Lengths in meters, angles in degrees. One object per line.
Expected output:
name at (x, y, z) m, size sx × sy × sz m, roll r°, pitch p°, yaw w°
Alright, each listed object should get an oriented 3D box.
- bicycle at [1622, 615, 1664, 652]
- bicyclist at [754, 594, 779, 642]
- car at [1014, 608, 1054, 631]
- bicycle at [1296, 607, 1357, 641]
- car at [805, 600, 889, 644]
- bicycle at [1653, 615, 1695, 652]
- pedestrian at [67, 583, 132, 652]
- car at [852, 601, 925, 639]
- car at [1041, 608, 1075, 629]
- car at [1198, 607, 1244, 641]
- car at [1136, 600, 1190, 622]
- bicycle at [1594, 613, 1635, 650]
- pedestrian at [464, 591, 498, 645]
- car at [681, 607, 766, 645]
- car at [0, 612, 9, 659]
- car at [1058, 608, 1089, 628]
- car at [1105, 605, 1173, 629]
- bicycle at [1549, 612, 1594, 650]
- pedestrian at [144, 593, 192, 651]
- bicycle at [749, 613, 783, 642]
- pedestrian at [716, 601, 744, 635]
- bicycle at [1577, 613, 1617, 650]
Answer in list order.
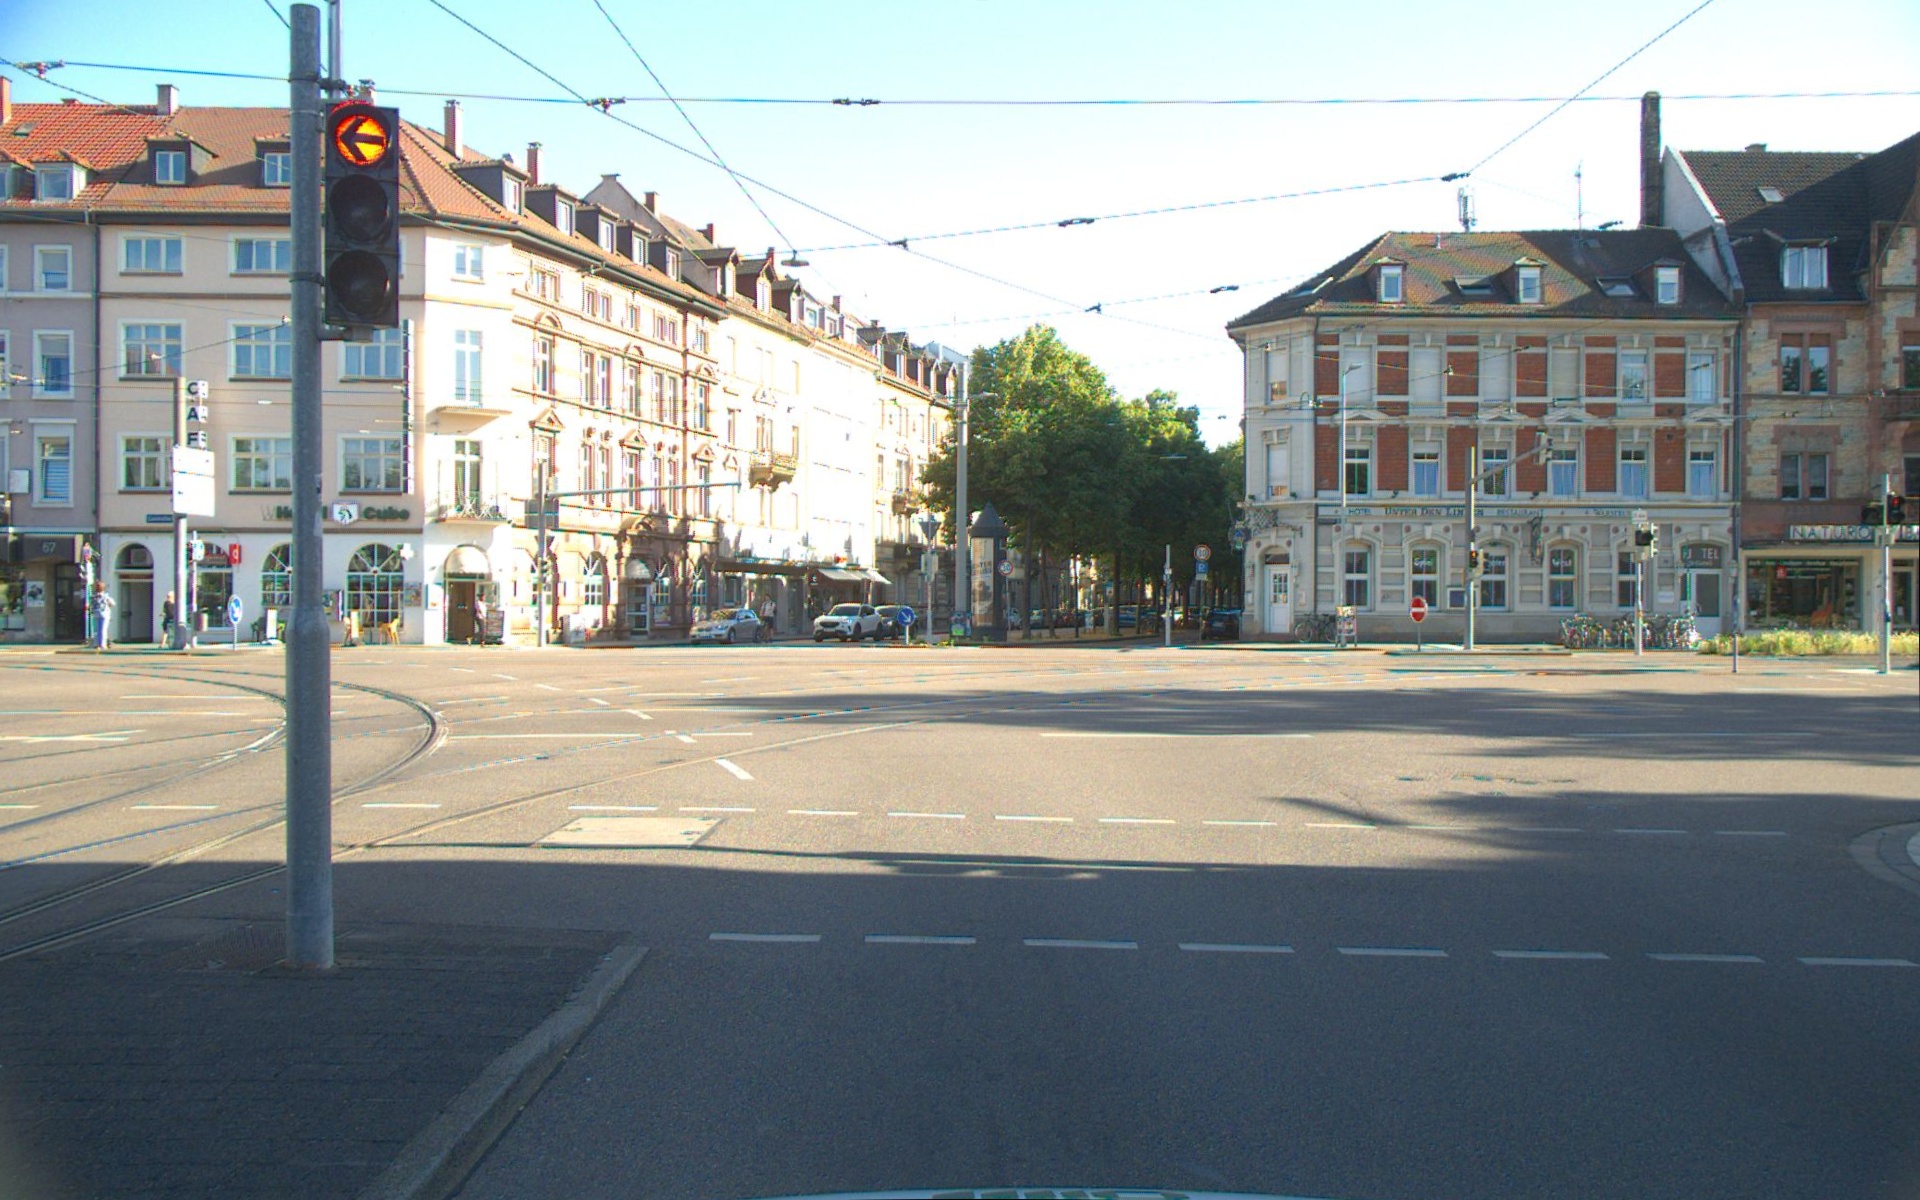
bicycle at (22.072, 1.064, 53.448) m, size 0.605 × 1.163 × 2.175 m, roll 0°, pitch 0°, yaw 4°
bicyclist at (-7.587, 0.687, 64.926) m, size 0.664 × 1.852 × 1.071 m, roll 0°, pitch 0°, yaw 12°
car at (5.519, 1.421, 122.734) m, size 1.951 × 1.640 × 4.393 m, roll 0°, pitch 0°, yaw 17°
bicycle at (12.750, 0.822, 57.580) m, size 2.045 × 1.144 × 0.366 m, roll 1°, pitch -1°, yaw -5°
car at (-4.545, 0.879, 67.248) m, size 1.951 × 1.713 × 4.393 m, roll 0°, pitch 0°, yaw 17°
bicycle at (23.036, 1.067, 53.396) m, size 0.596 × 1.156 × 2.136 m, roll 0°, pitch 0°, yaw 4°
pedestrian at (-21.567, 0.436, 41.487) m, size 1.058 × 1.714 × 1.103 m, roll 0°, pitch 0°, yaw -1°
car at (-3.151, 0.857, 73.783) m, size 1.951 × 1.640 × 4.393 m, roll 0°, pitch 0°, yaw 17°
car at (7.771, 1.419, 130.559) m, size 1.798 × 1.579 × 4.393 m, roll 0°, pitch 0°, yaw 16°
car at (13.066, 1.162, 82.631) m, size 1.951 × 1.613 × 4.003 m, roll 0°, pitch 0°, yaw 13°
car at (16.409, 0.885, 133.870) m, size 3.912 × 1.736 × 1.996 m, roll 0°, pitch 0°, yaw 30°
bicycle at (21.164, 1.001, 53.507) m, size 0.605 × 1.163 × 2.175 m, roll 0°, pitch 0°, yaw 4°
pedestrian at (-15.767, 0.580, 54.449) m, size 1.029 × 1.774 × 0.805 m, roll 0°, pitch 0°, yaw -16°
car at (-9.528, 1.028, 66.894) m, size 1.858 × 1.481 × 4.002 m, roll 0°, pitch 0°, yaw 17°
car at (-32.399, 1.125, 51.938) m, size 3.907 × 1.478 × 1.999 m, roll 0°, pitch 0°, yaw -3°
car at (9.383, 1.458, 136.460) m, size 1.727 × 1.576 × 4.394 m, roll 0°, pitch 0°, yaw 16°
car at (12.516, 1.192, 115.538) m, size 4.290 × 1.640 × 1.998 m, roll 0°, pitch 0°, yaw 26°
bicycle at (19.821, 0.996, 53.656) m, size 0.789 × 1.163 × 2.175 m, roll 0°, pitch 0°, yaw 4°
pedestrian at (-24.893, 0.670, 52.000) m, size 0.985 × 1.806 × 0.942 m, roll 0°, pitch 0°, yaw 14°
bicycle at (-7.598, 1.075, 64.884) m, size 0.665 × 1.085 × 2.127 m, roll 0°, pitch 0°, yaw 12°
pedestrian at (-10.577, 0.833, 75.998) m, size 0.908 × 1.562 × 1.138 m, roll 0°, pitch 0°, yaw 13°
bicycle at (20.592, 1.006, 53.537) m, size 0.605 × 1.163 × 2.175 m, roll 0°, pitch 0°, yaw 4°
